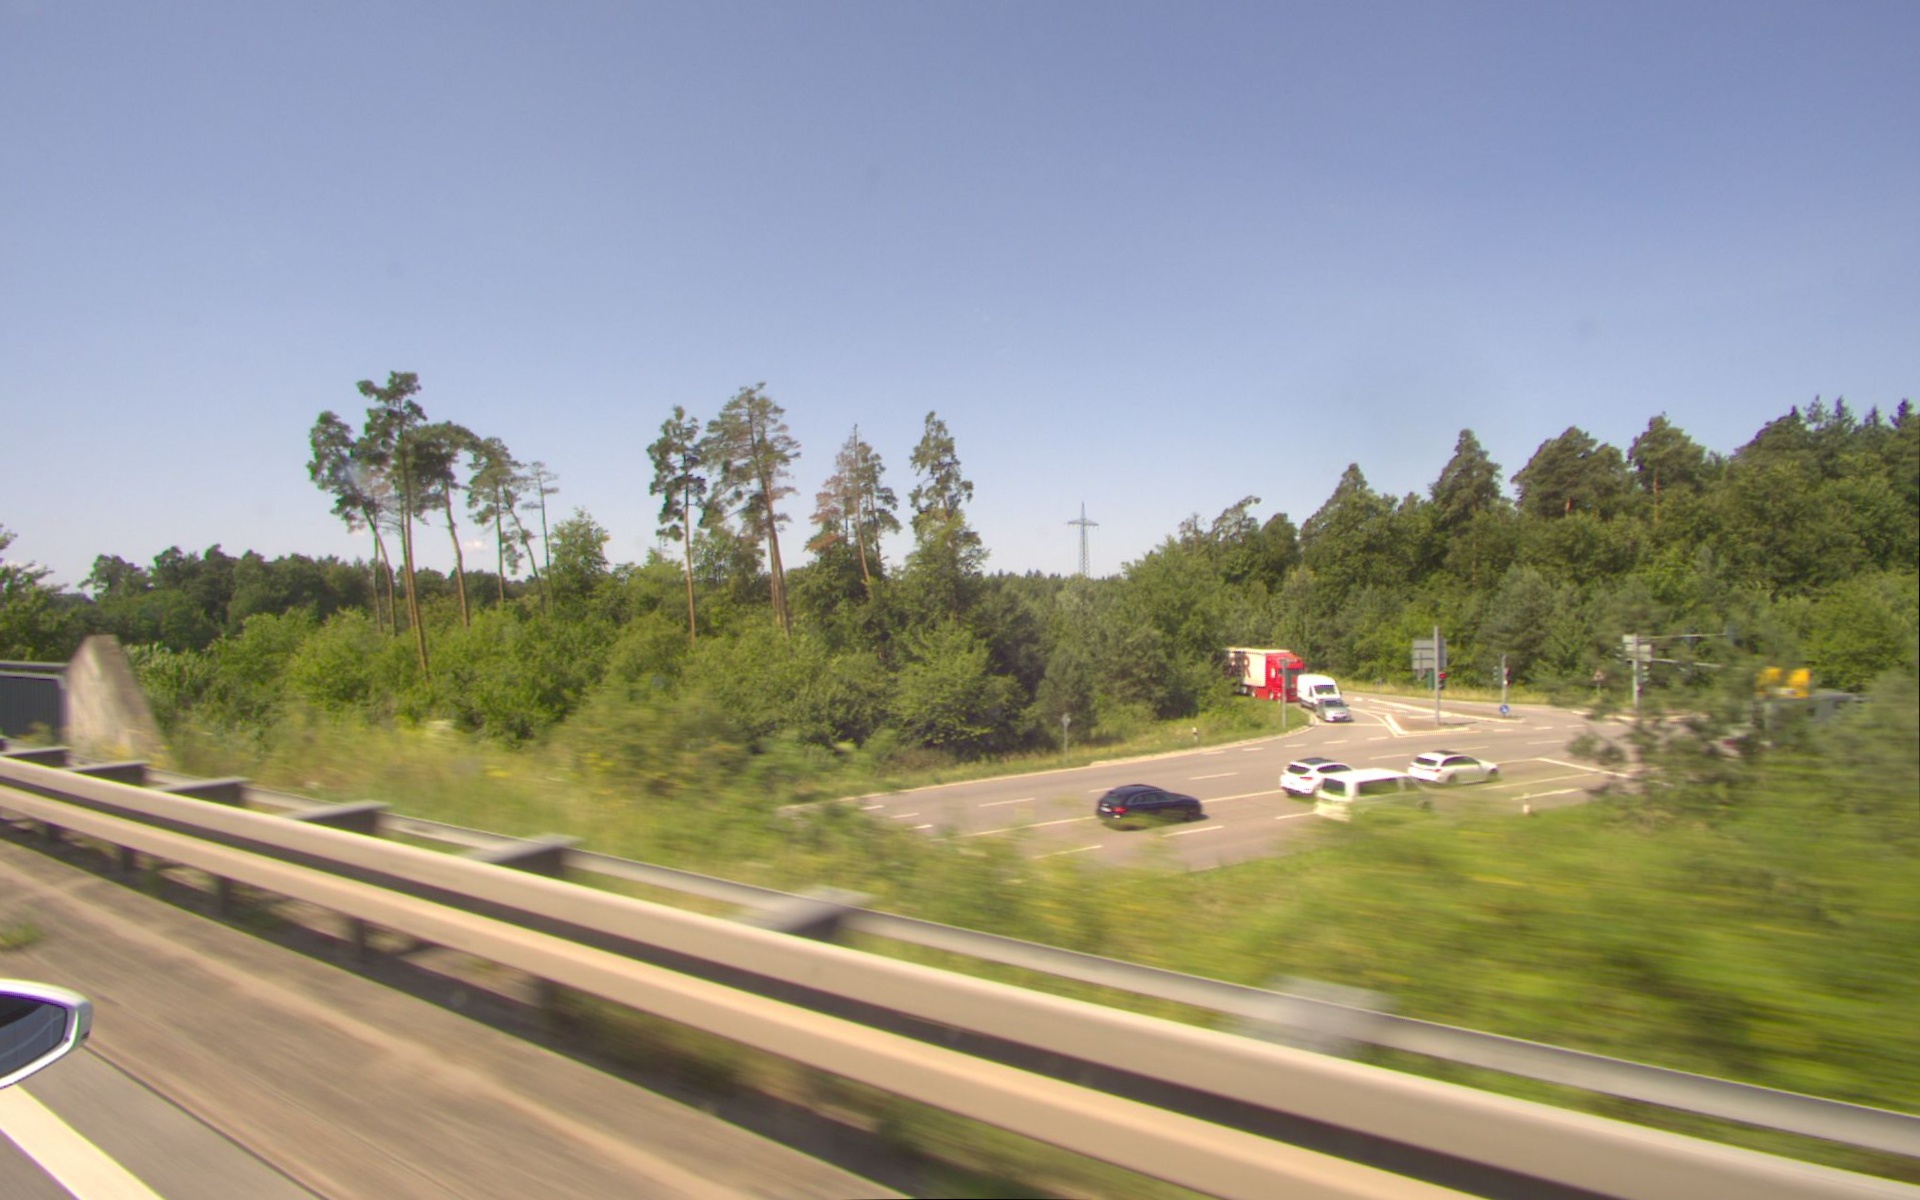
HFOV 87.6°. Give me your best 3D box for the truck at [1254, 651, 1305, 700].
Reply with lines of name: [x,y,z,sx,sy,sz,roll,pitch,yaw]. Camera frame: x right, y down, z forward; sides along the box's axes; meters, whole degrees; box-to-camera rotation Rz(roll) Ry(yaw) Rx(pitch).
truck: [26.512,6.224,83.330,2.189,3.705,4.419,3,0,-8]

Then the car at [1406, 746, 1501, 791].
car: [23.261,7.907,47.158,4.328,1.461,1.694,-1,3,-26]

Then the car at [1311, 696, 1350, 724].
car: [25.535,7.560,69.125,1.732,1.463,3.777,3,0,8]

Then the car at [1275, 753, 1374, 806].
car: [16.115,7.899,44.298,4.068,1.655,1.749,0,3,-26]

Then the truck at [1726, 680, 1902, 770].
truck: [43.039,6.190,50.459,8.864,3.771,2.286,-1,2,-17]

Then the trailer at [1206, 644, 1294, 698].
trailer: [25.636,6.180,89.551,2.218,3.704,13.152,3,0,-8]

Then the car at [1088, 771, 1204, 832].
car: [7.375,7.952,39.718,4.299,1.655,1.749,0,3,-26]

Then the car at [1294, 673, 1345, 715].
car: [27.084,7.077,75.673,1.961,2.567,5.439,3,0,2]

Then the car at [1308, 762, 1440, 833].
car: [16.528,7.822,39.944,5.153,1.992,1.897,0,3,-26]
